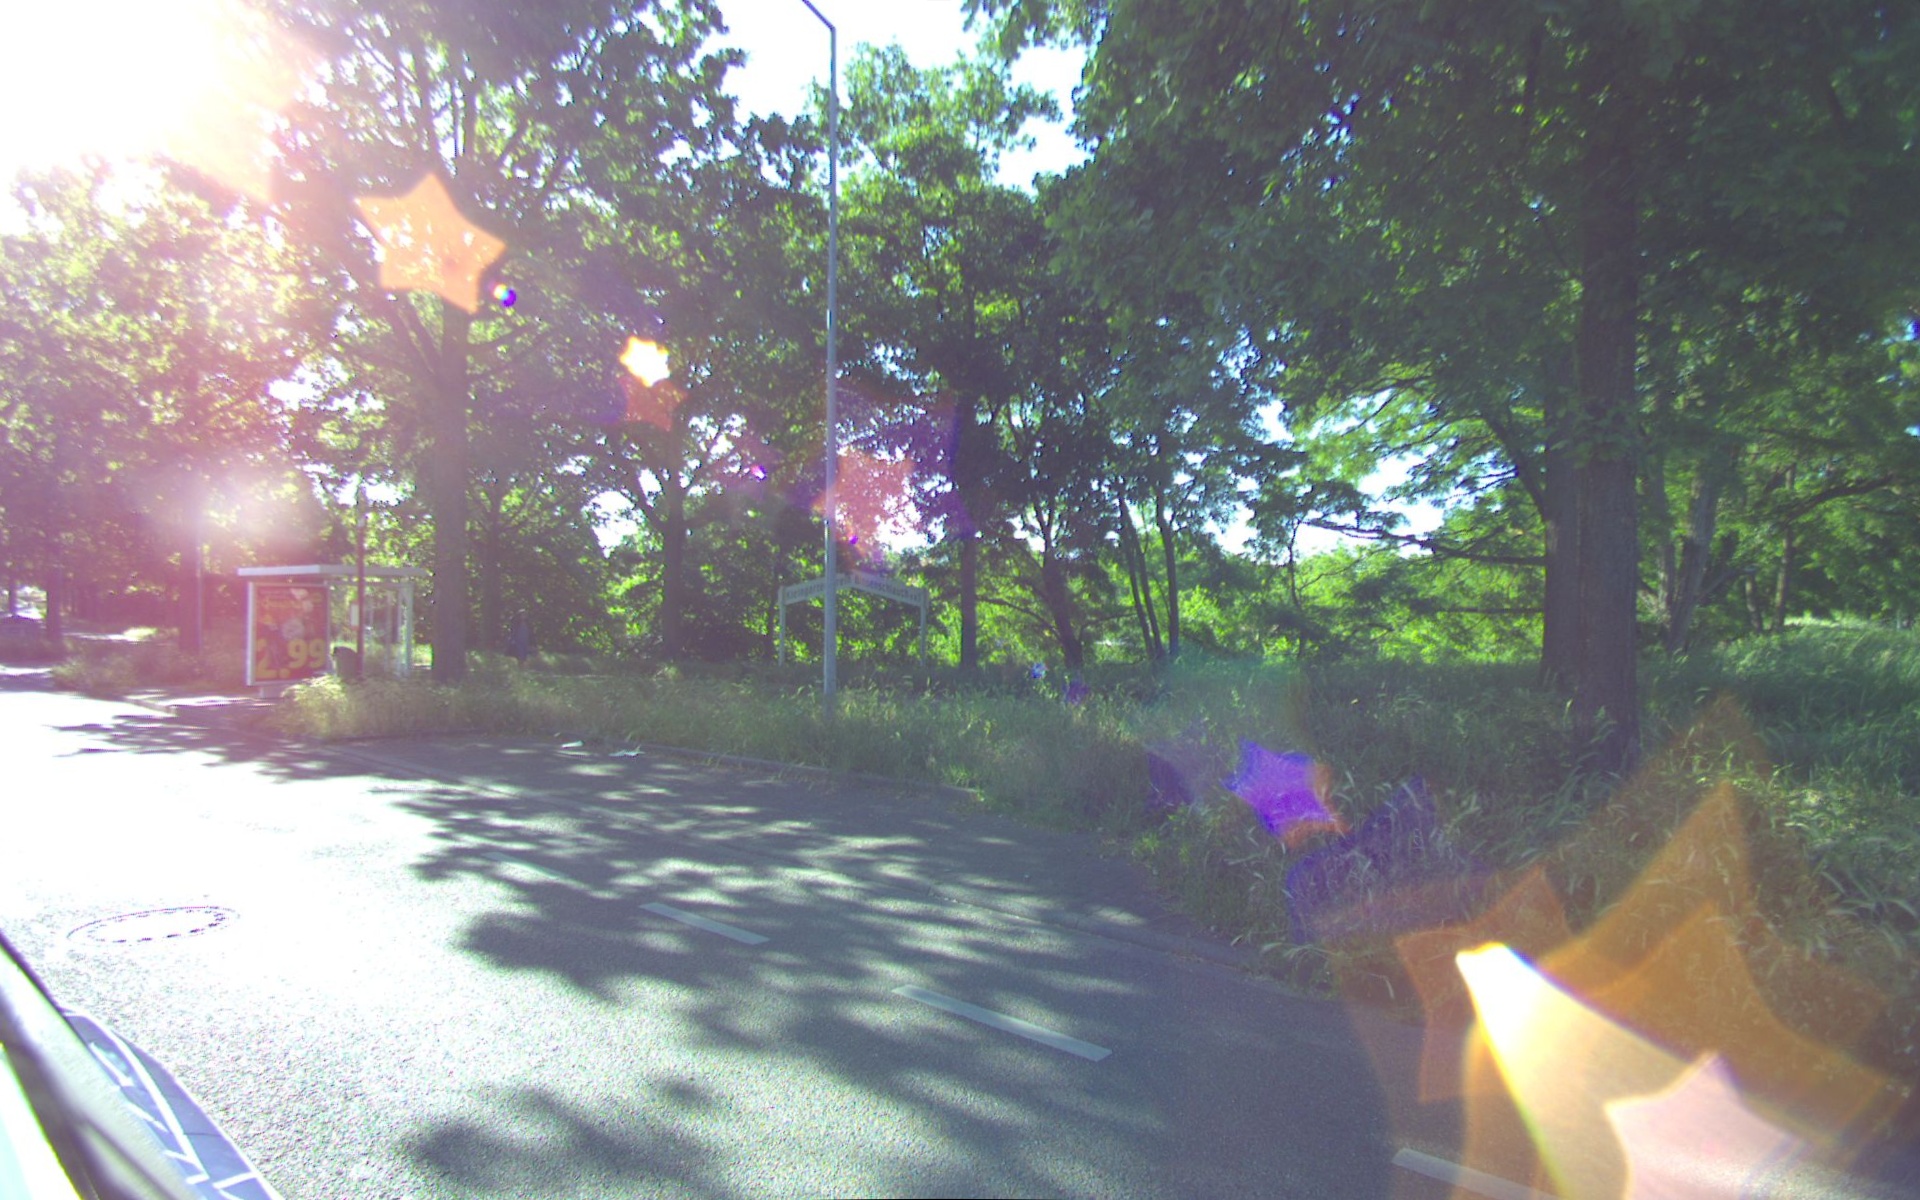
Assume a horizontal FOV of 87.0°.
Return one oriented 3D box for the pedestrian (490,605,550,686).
[{"bbox_3d":[-9.654,0.979,22.185,0.891,1.701,0.903,-2,-1,42],"label":"pedestrian"}]
